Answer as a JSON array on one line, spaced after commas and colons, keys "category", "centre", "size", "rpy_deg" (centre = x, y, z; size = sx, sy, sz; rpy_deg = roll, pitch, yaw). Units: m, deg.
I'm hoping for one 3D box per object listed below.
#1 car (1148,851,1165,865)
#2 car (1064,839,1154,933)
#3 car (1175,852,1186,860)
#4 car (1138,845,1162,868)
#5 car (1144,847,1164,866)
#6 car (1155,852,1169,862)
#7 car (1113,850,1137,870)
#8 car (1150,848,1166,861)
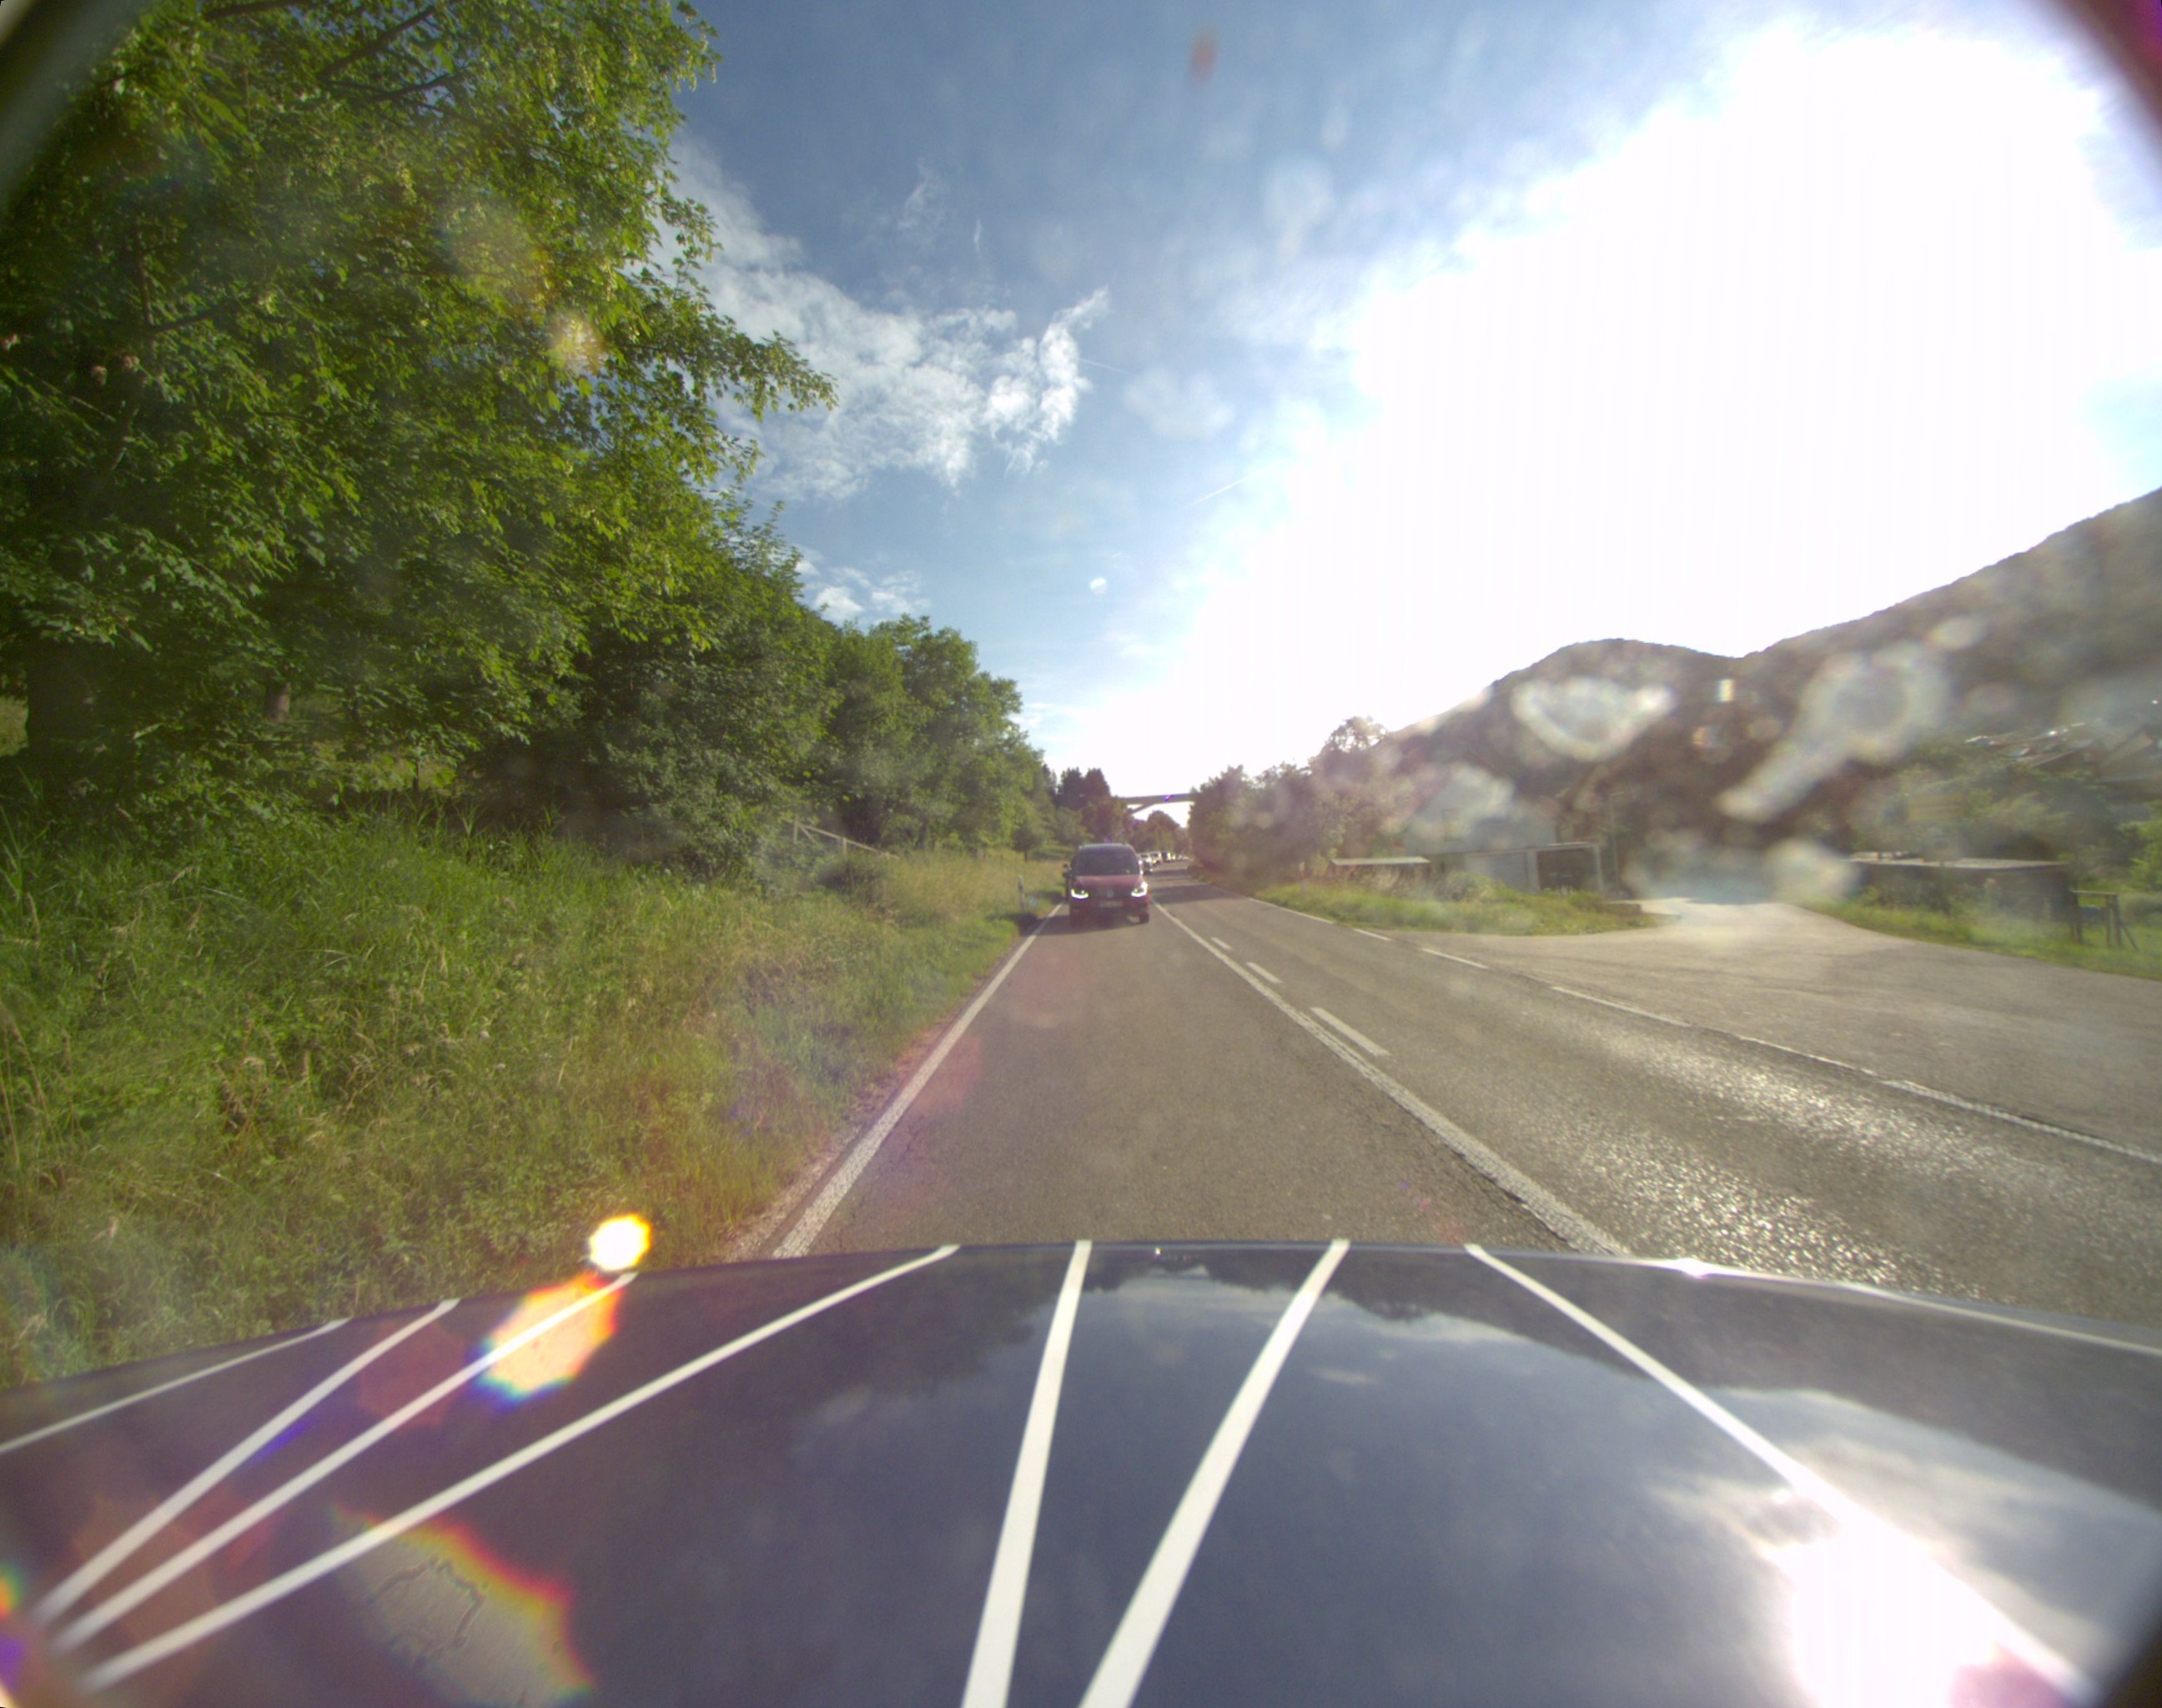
[{"category": "car", "centre": [8.814, 0.474, 88.658], "size": [1.840, 1.543, 4.180], "rpy_deg": [0, 0, 7]}, {"category": "car", "centre": [0.658, 0.655, 17.640], "size": [1.772, 1.855, 3.875], "rpy_deg": [-3, 0, 2]}, {"category": "car", "centre": [21.881, 0.451, 167.172], "size": [1.840, 1.543, 4.182], "rpy_deg": [0, 0, 13]}, {"category": "car", "centre": [6.304, 0.225, 68.972], "size": [1.913, 2.002, 4.002], "rpy_deg": [0, 0, 8]}, {"category": "car", "centre": [7.687, 0.235, 79.932], "size": [1.914, 2.002, 4.002], "rpy_deg": [0, 0, 7]}, {"category": "car", "centre": [12.579, 0.476, 117.822], "size": [1.817, 1.608, 4.003], "rpy_deg": [0, 0, 9]}, {"category": "car", "centre": [3.564, 0.468, 61.239], "size": [1.841, 1.543, 4.179], "rpy_deg": [0, 0, 5]}, {"category": "car", "centre": [10.503, 0.048, 103.205], "size": [1.817, 1.608, 4.003], "rpy_deg": [-1, 0, 10]}]
